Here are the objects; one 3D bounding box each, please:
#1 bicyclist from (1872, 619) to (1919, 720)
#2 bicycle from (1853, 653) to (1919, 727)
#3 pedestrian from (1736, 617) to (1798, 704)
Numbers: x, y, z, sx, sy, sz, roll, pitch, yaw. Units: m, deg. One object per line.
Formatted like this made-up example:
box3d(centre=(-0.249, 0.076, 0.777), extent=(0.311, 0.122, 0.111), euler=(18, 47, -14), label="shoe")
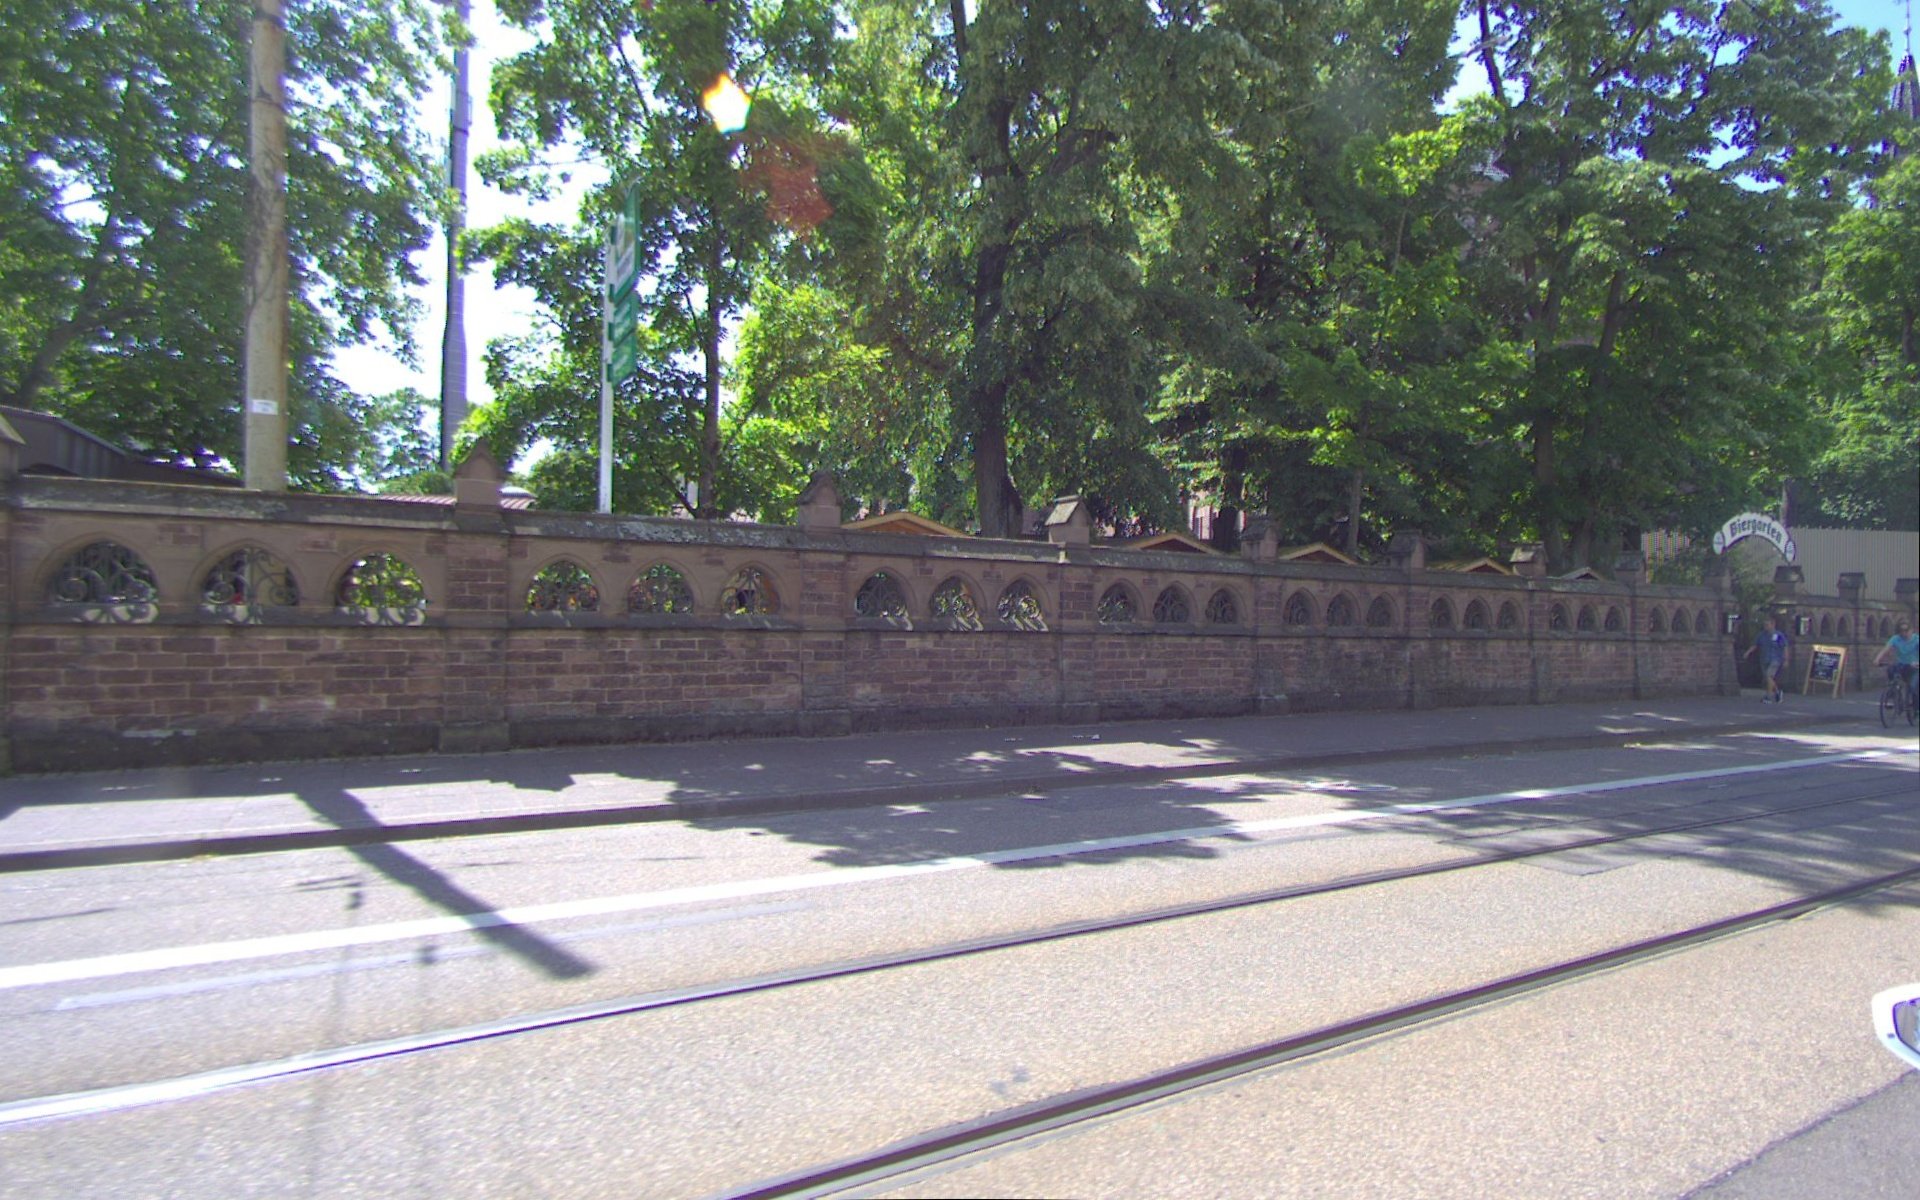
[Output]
box3d(centre=(16.404, 1.193, 17.433), extent=(0.805, 1.702, 0.639), euler=(1, -1, -30), label="bicyclist")
box3d(centre=(16.372, 1.523, 17.380), extent=(2.214, 1.219, 0.697), euler=(2, -3, -31), label="bicycle")
box3d(centre=(16.831, 1.241, 20.949), extent=(0.857, 1.751, 0.739), euler=(1, 0, -30), label="pedestrian")
